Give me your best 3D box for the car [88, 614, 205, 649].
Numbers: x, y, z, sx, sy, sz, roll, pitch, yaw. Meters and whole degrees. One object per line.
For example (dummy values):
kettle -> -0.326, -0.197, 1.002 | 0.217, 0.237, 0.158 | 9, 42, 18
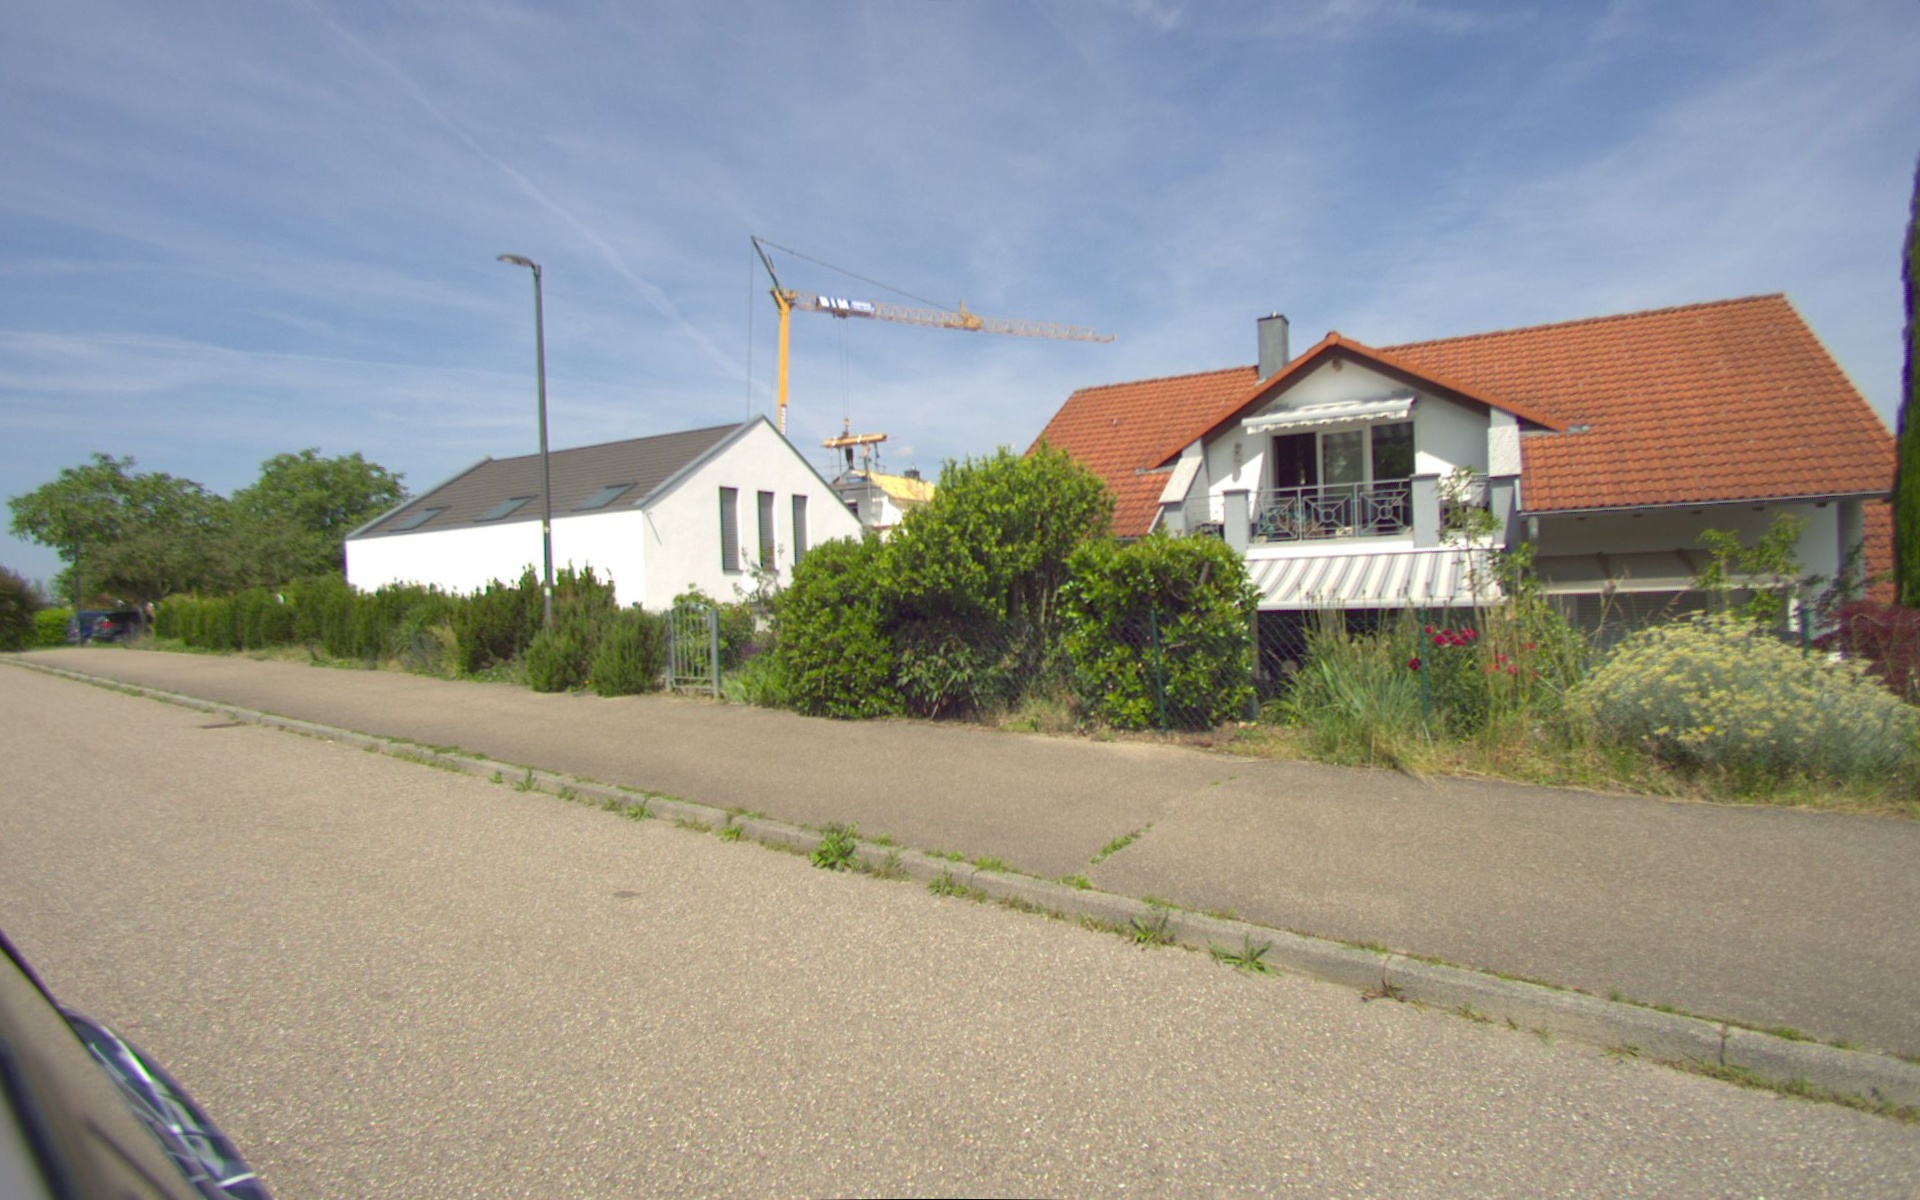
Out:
car -> -35.863, 1.365, 44.651 | 3.832, 1.331, 1.802 | -2, 0, -45

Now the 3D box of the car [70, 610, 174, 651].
car -> -41.679, 1.483, 50.387 | 3.832, 1.826, 1.802 | -3, 1, -45
